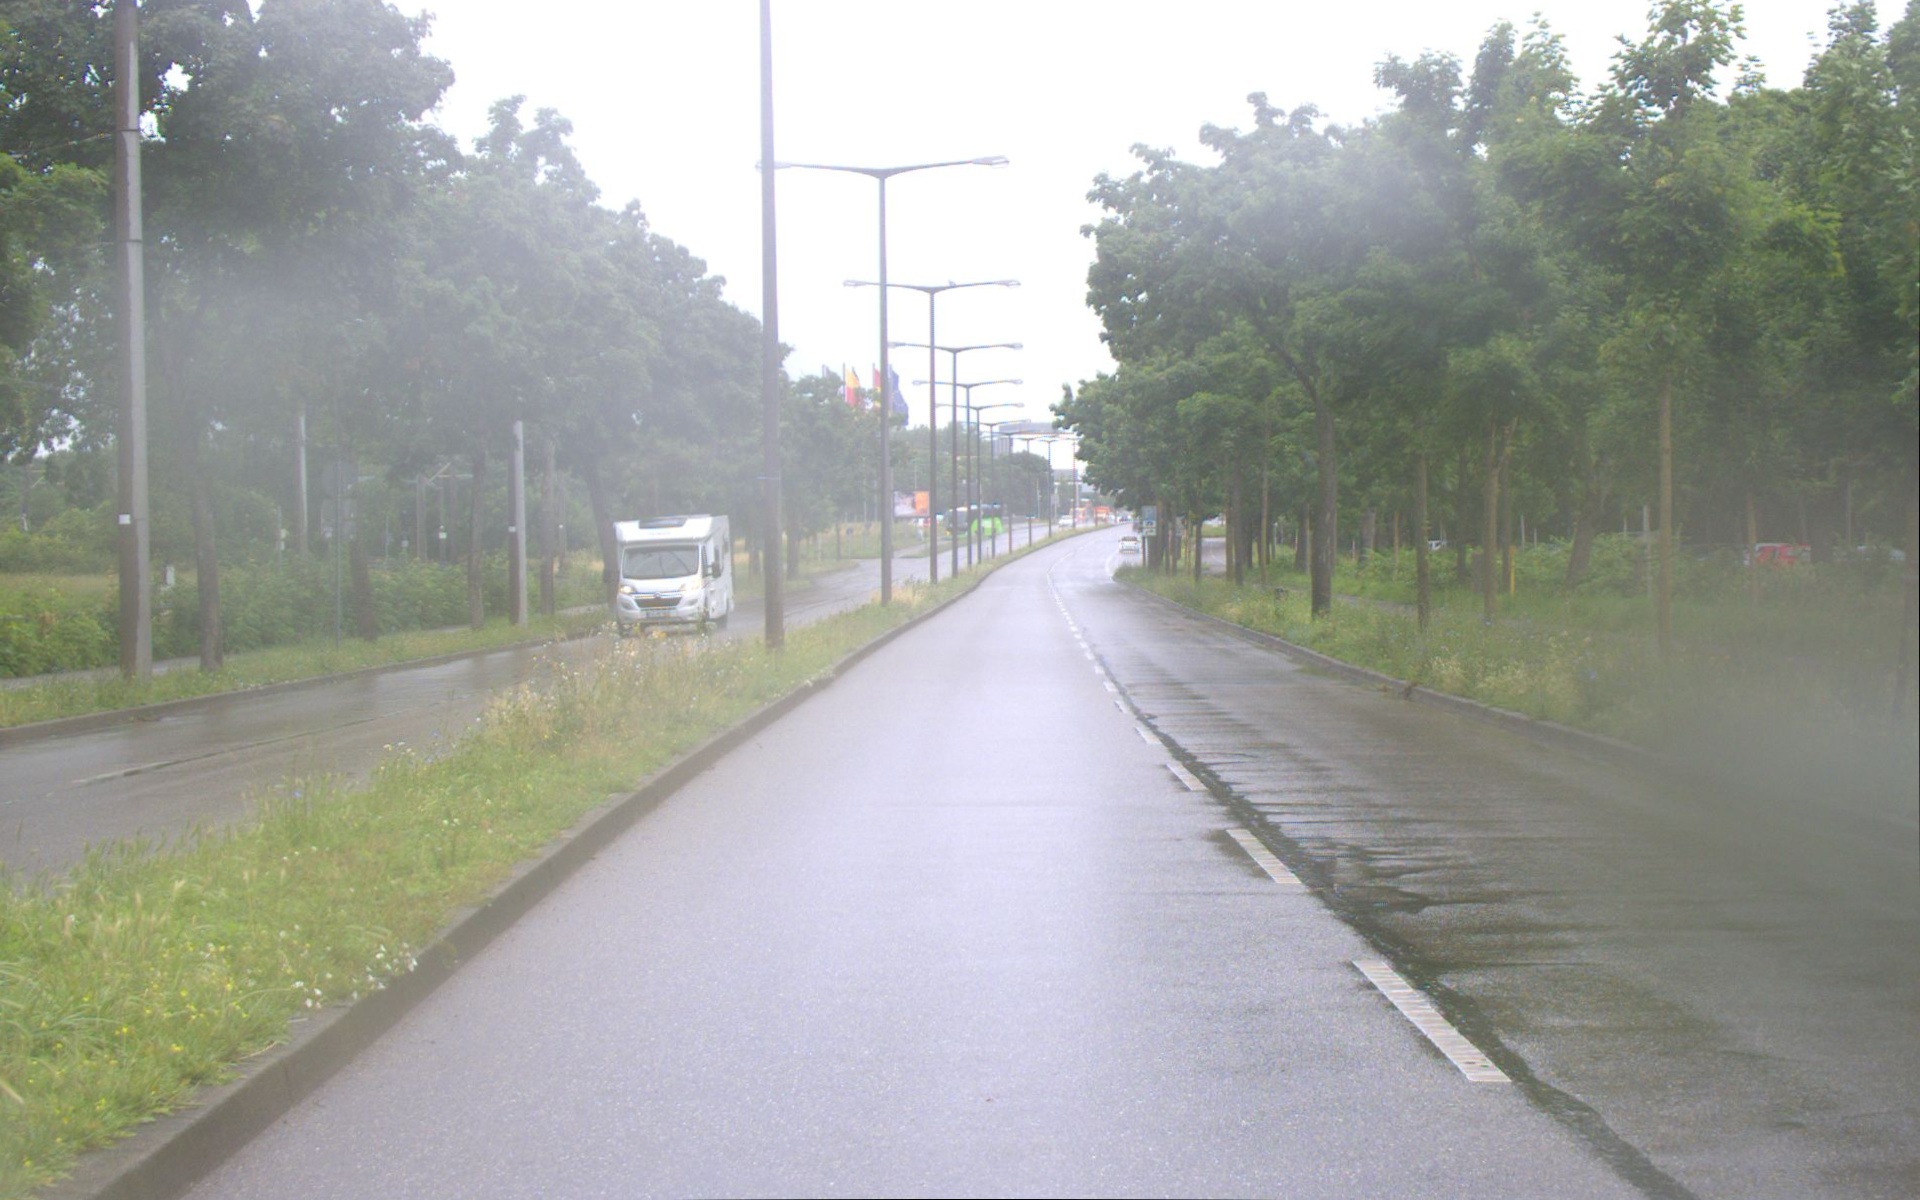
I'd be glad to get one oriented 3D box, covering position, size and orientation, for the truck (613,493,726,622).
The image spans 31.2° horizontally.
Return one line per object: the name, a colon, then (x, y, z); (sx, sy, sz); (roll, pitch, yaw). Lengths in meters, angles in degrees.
truck: (-6.749, -0.964, 80.373); (2.138, 2.834, 5.074); (-2, 0, -1)
